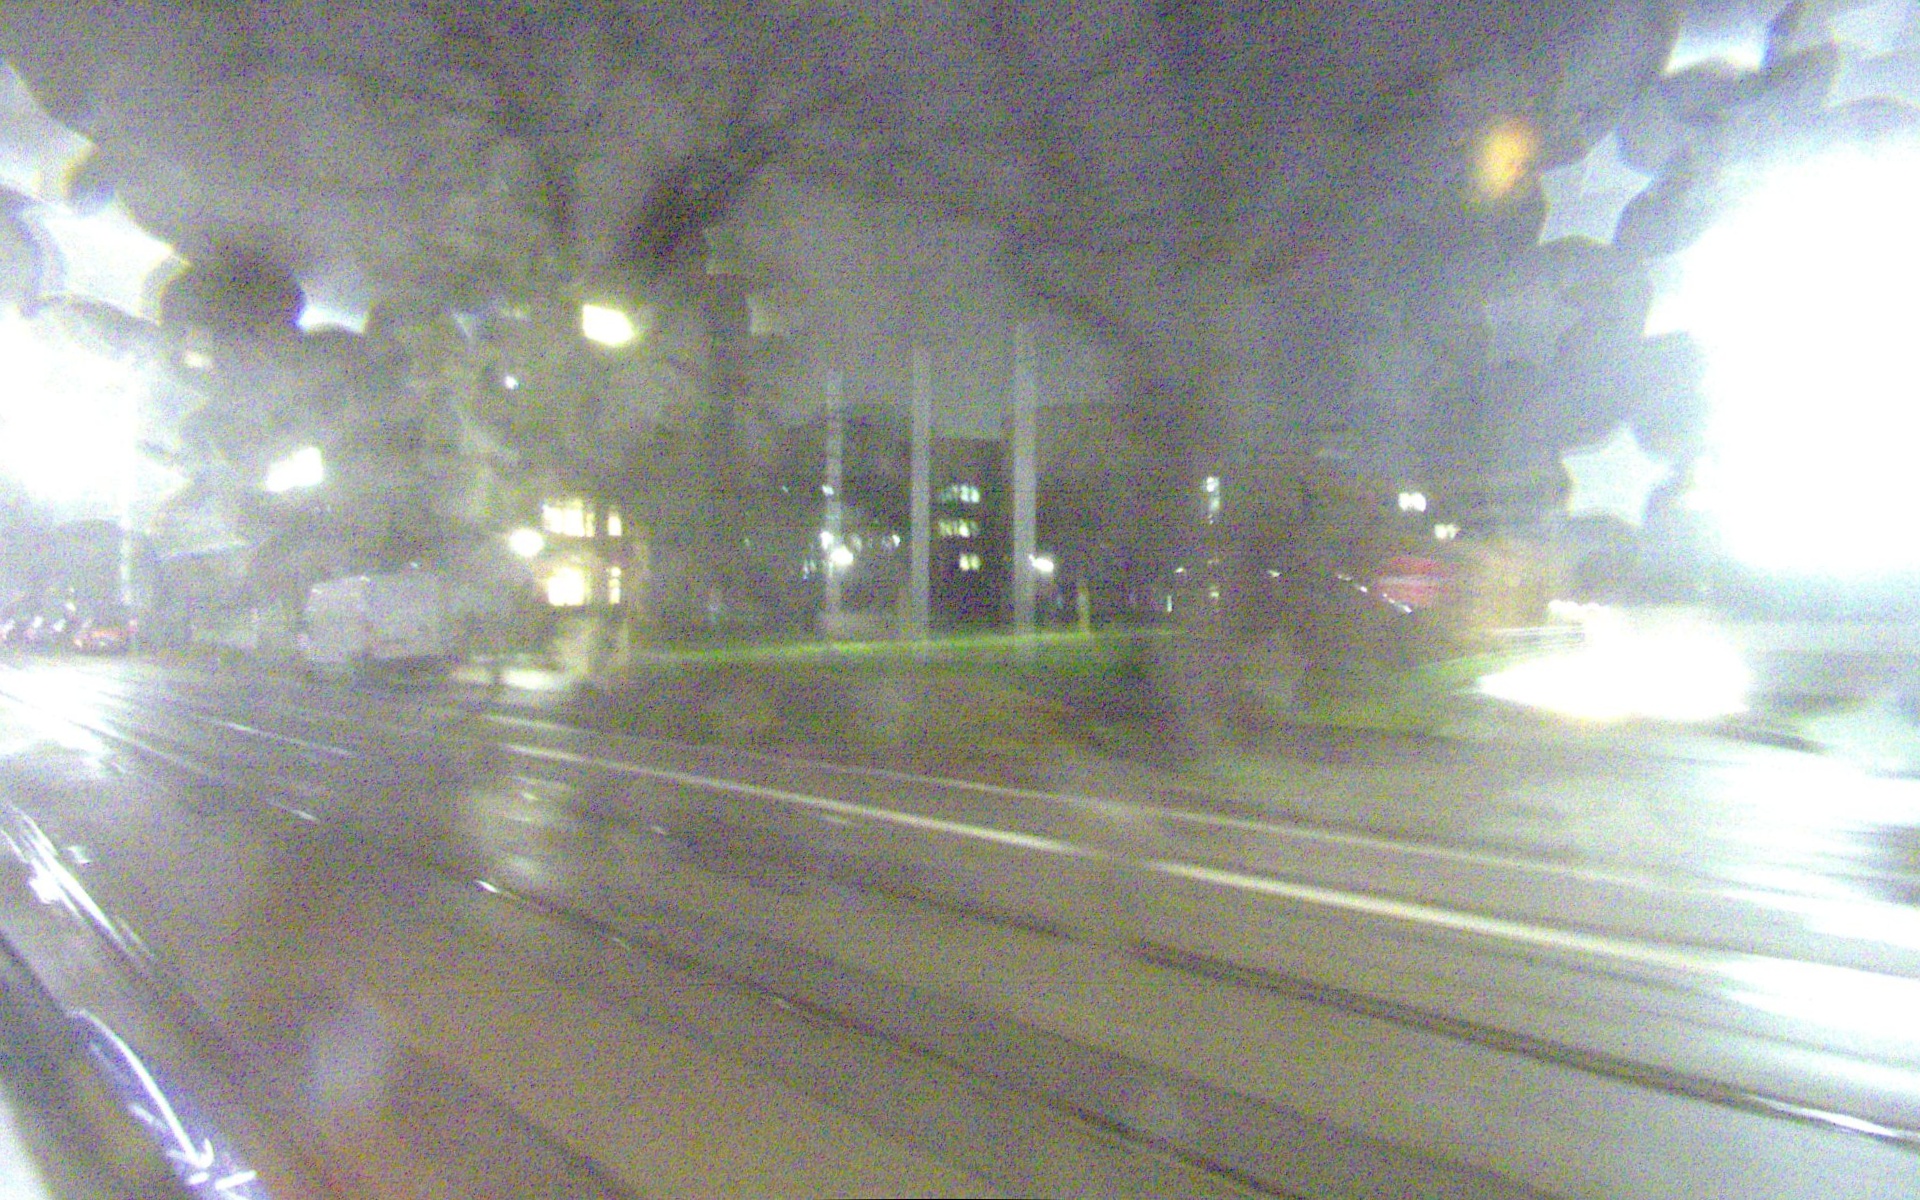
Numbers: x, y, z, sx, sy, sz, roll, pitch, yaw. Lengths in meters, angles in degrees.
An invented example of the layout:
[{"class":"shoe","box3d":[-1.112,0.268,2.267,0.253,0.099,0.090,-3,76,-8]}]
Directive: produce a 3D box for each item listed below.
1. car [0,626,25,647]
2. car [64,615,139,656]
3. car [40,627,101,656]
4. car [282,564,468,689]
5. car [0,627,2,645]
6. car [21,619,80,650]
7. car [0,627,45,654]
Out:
[{"class":"car","box3d":[-70.426,2.667,74.234,4.951,1.474,1.870,-1,-2,37]},{"class":"car","box3d":[-37.676,1.508,44.389,4.601,1.668,1.948,-1,1,43]},{"class":"car","box3d":[-45.677,2.106,51.962,3.909,1.432,1.674,-2,-3,38]},{"class":"car","box3d":[-14.154,0.642,24.249,6.392,2.611,2.161,-2,-2,44]},{"class":"car","box3d":[-78.343,2.847,81.032,4.204,1.434,1.822,-1,-2,38]},{"class":"car","box3d":[-51.085,1.917,56.816,4.515,1.643,1.962,-1,-1,41]},{"class":"car","box3d":[-61.295,2.624,65.893,4.394,1.557,1.862,-1,2,39]}]
